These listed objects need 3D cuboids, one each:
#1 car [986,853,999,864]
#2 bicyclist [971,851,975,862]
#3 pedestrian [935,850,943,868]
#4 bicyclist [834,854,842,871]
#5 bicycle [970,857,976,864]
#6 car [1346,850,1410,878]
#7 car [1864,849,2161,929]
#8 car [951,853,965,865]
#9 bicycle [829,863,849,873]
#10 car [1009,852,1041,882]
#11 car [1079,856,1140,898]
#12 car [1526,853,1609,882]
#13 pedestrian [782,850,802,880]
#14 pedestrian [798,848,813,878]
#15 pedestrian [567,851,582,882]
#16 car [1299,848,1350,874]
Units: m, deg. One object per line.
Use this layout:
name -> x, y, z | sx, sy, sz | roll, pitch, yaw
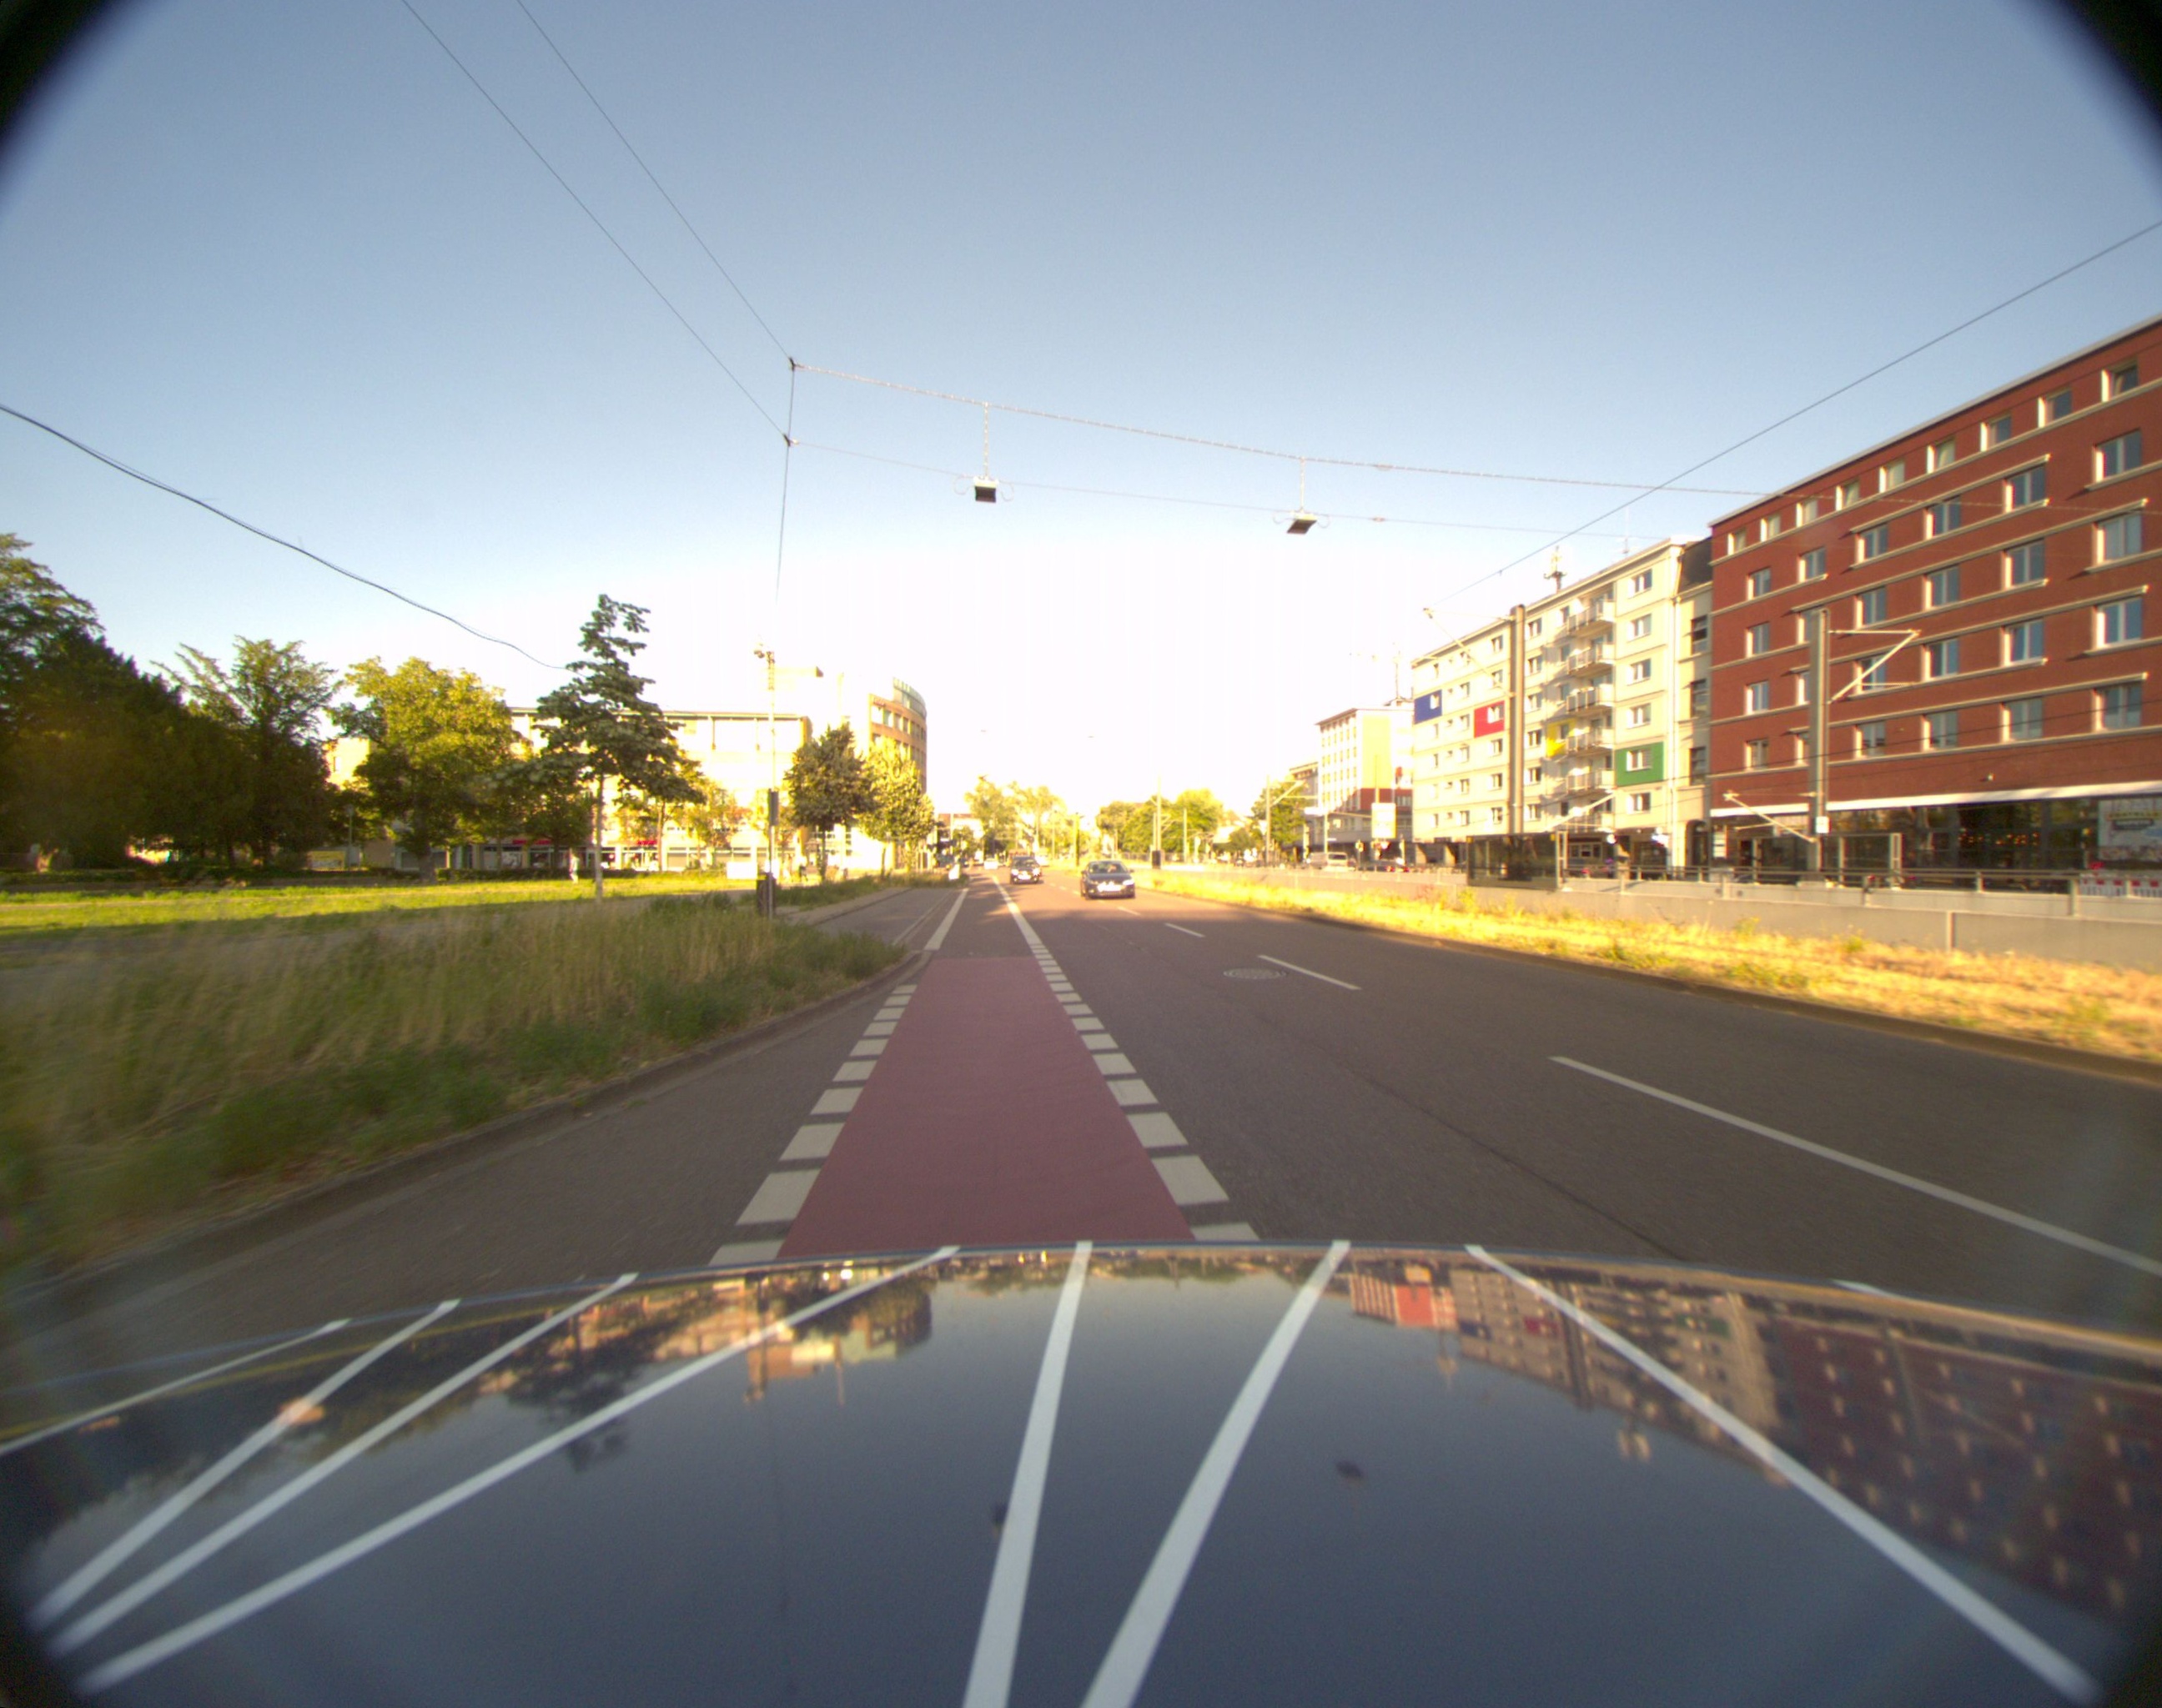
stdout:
car -> -13.042, 0.616, 111.764 | 1.771, 1.464, 4.011 | -2, 1, -7
bicyclist -> -15.452, 0.394, 108.809 | 0.552, 1.600, 0.832 | 0, 1, -4
pedestrian -> -13.404, 0.488, 71.918 | 0.651, 1.714, 0.714 | 0, 1, -5
bicyclist -> -27.850, 0.998, 87.192 | 0.698, 1.927, 0.577 | -2, 1, -32
bicycle -> -15.442, 0.903, 108.757 | 0.609, 0.923, 1.776 | 0, 0, -4
car -> 19.772, 0.644, 50.781 | 1.999, 1.787, 4.892 | 0, 0, -5
car -> 24.008, 0.796, 19.726 | 1.999, 1.808, 4.977 | 0, 0, -4
car -> -16.743, 0.646, 103.547 | 1.771, 1.464, 4.011 | -2, 1, -7
bicycle -> -27.786, 1.587, 87.224 | 1.982, 1.044, 0.699 | -2, 1, -32
car -> -3.533, 0.767, 47.174 | 1.771, 1.722, 4.144 | -1, 0, -7
car -> 0.986, 0.823, 28.520 | 1.770, 1.418, 4.243 | -1, 0, -4
car -> 31.174, 0.805, 48.836 | 1.999, 1.787, 4.739 | 0, 0, -5
pedestrian -> -16.163, 0.597, 42.529 | 0.741, 1.640, 0.915 | 3, 0, -3
pedestrian -> -15.955, 0.531, 44.027 | 0.599, 1.679, 0.781 | 2, 0, -3
pedestrian -> -28.761, 0.702, 43.176 | 0.644, 1.729, 0.595 | -1, 1, -40
car -> 19.150, 0.495, 59.889 | 2.000, 2.002, 4.771 | 0, 1, -7
